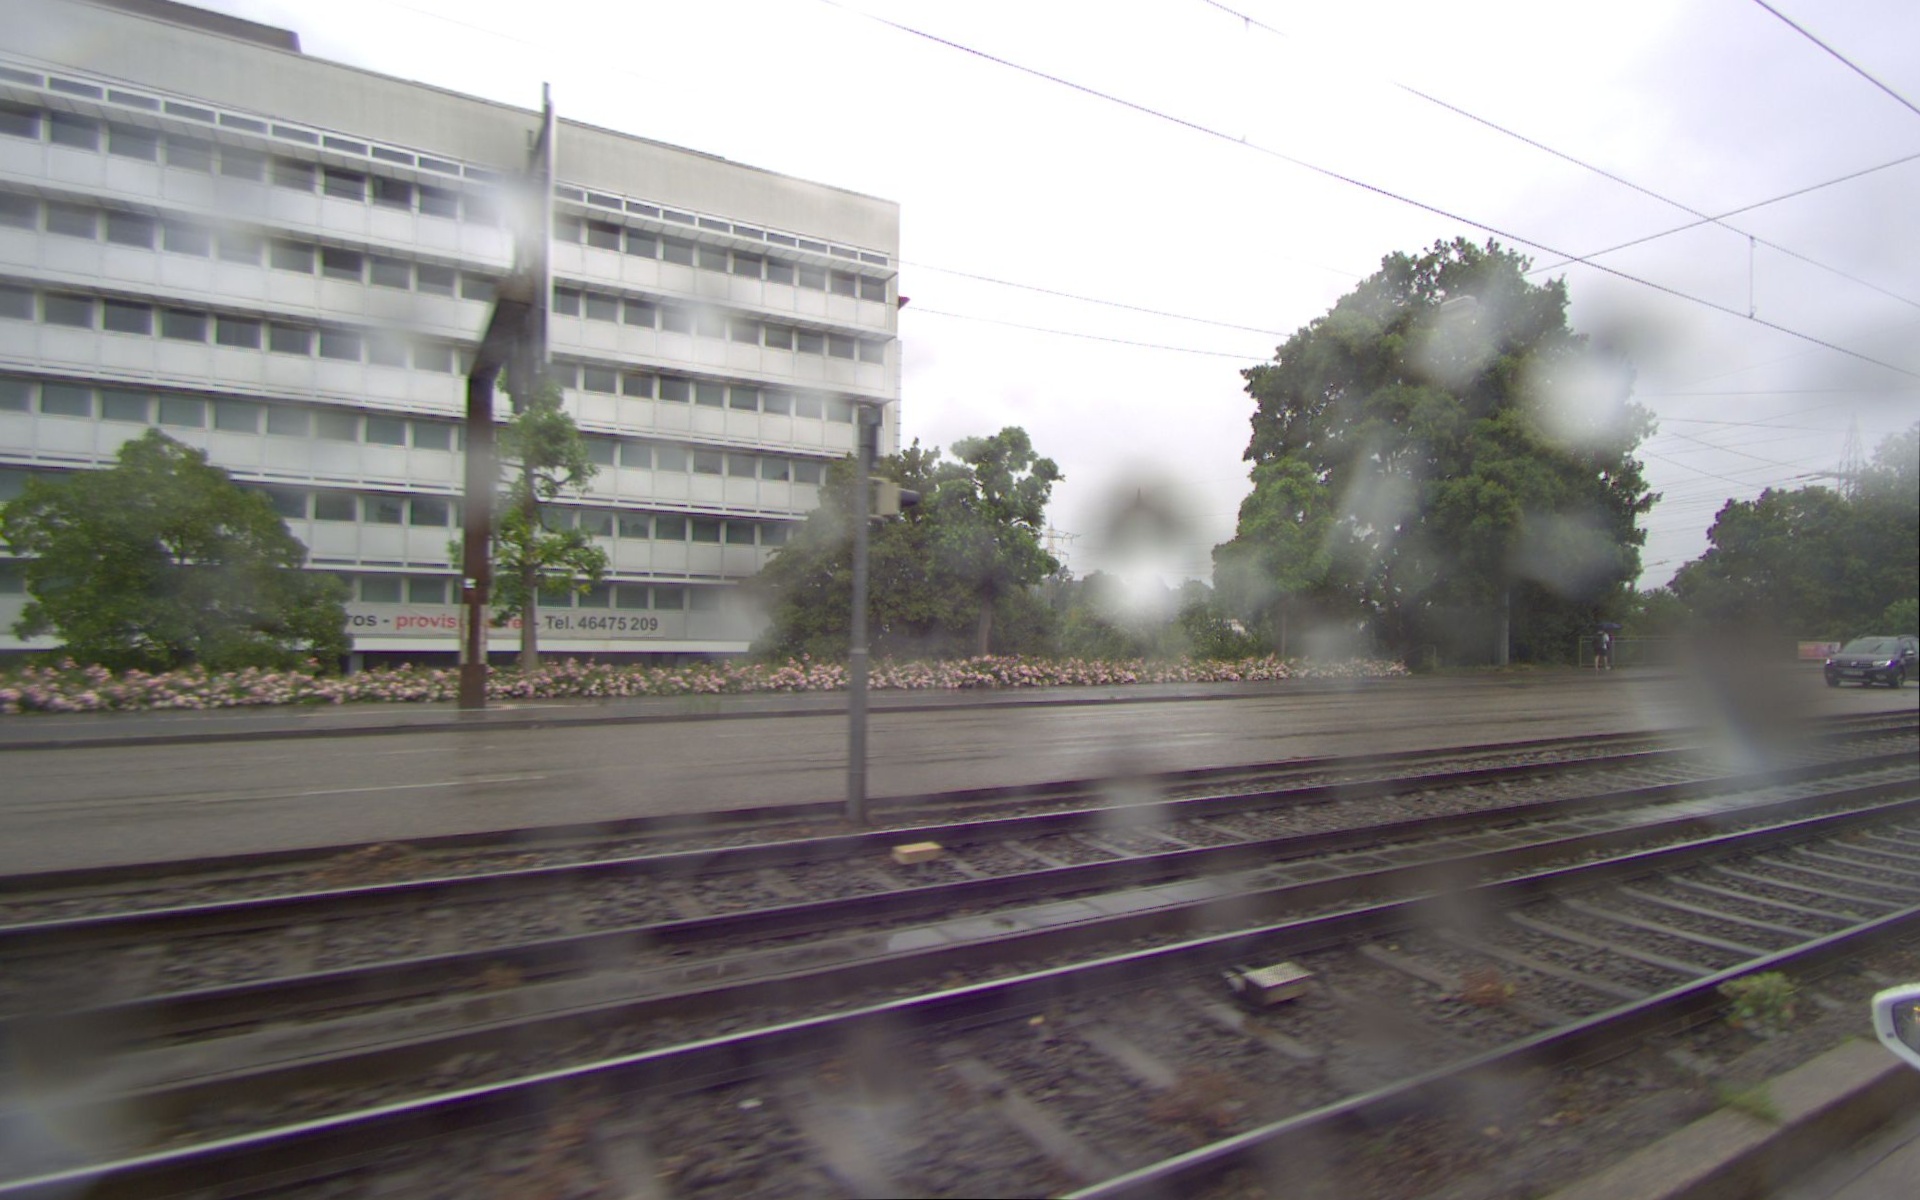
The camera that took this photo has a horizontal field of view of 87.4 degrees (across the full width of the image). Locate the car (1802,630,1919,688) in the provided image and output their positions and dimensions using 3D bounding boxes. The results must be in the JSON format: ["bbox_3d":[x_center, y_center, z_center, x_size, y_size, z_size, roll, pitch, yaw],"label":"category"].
[{"bbox_3d":[28.163,1.770,31.001,4.201,1.639,1.985,1,-1,-29],"label":"car"}]

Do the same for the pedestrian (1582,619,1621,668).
[{"bbox_3d":[23.900,1.610,37.421,1.107,1.782,0.847,1,-1,-30],"label":"pedestrian"}]
